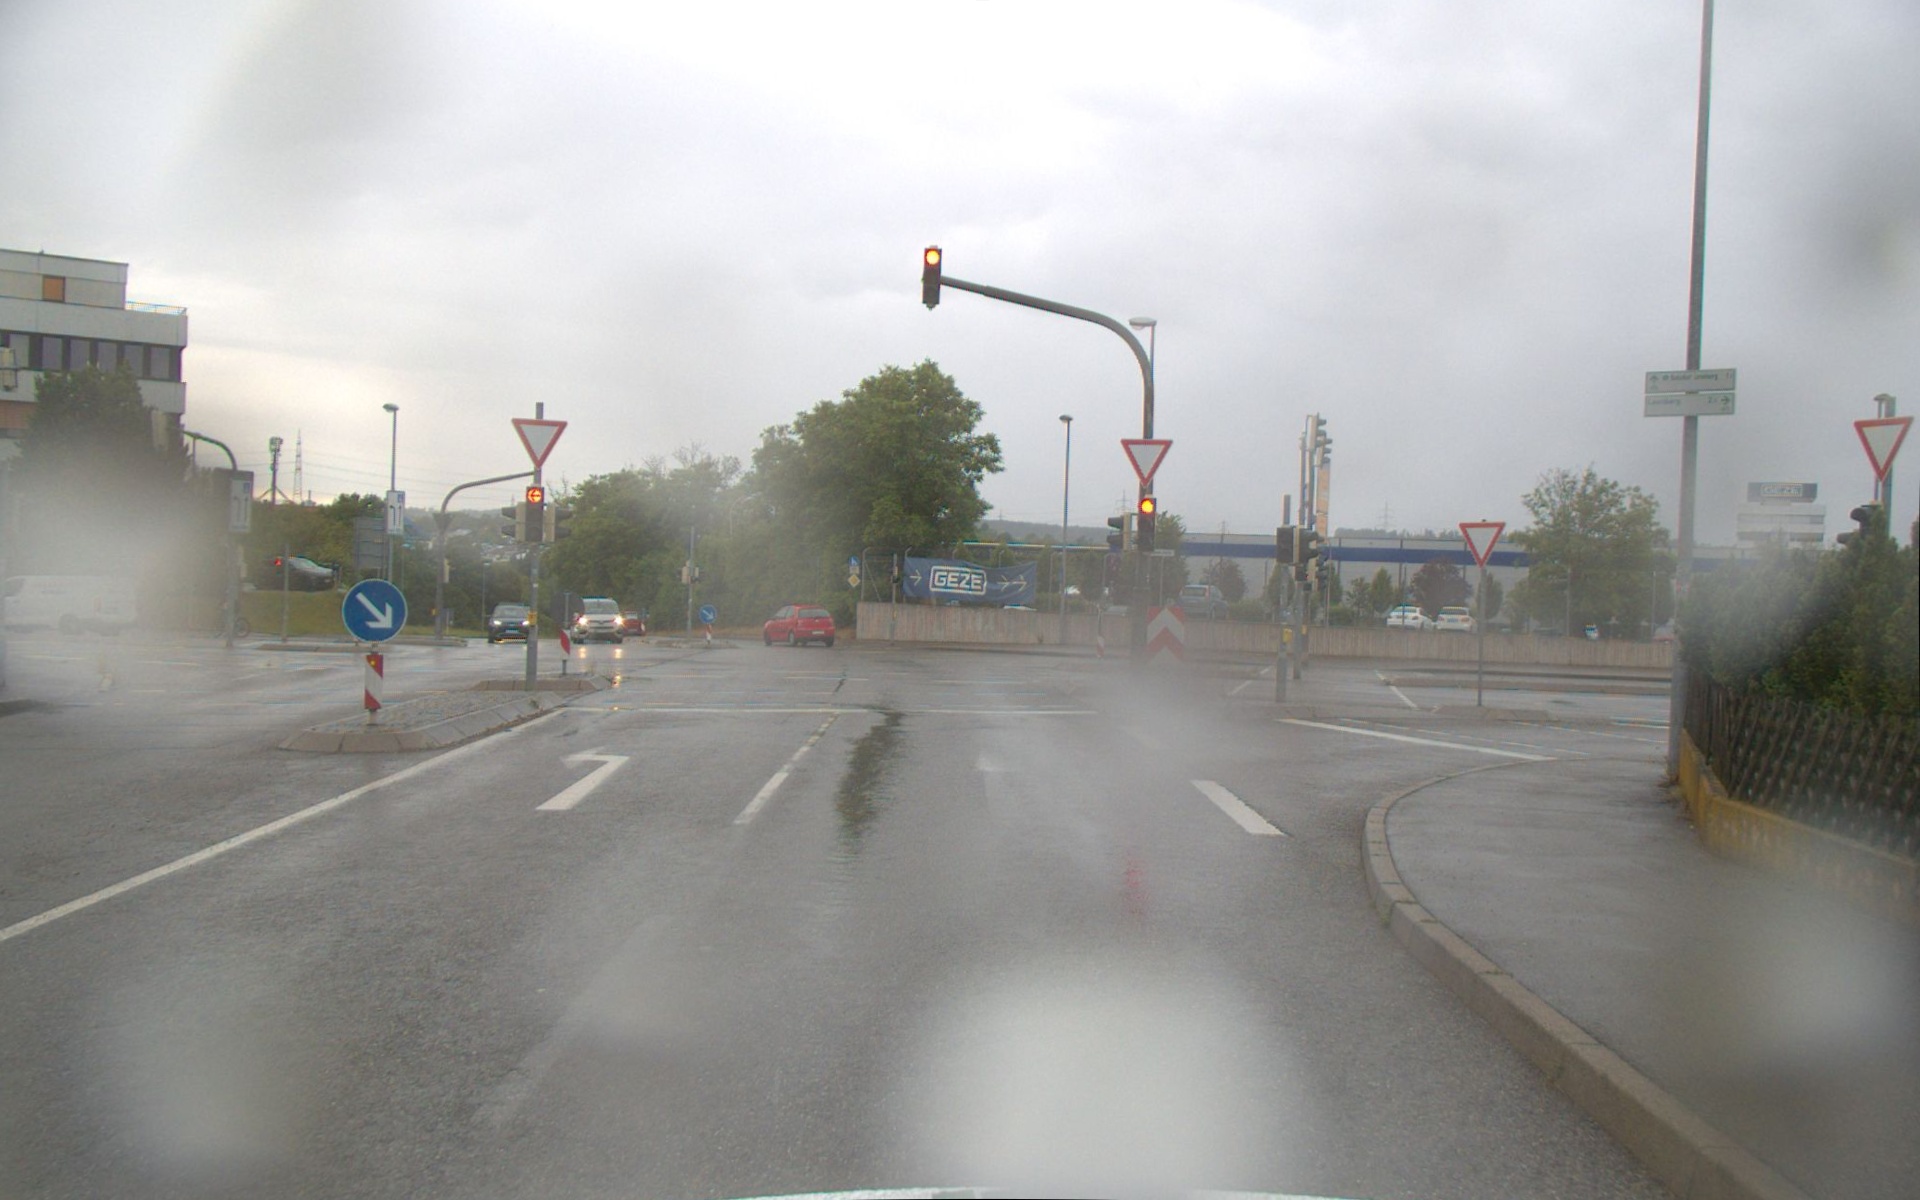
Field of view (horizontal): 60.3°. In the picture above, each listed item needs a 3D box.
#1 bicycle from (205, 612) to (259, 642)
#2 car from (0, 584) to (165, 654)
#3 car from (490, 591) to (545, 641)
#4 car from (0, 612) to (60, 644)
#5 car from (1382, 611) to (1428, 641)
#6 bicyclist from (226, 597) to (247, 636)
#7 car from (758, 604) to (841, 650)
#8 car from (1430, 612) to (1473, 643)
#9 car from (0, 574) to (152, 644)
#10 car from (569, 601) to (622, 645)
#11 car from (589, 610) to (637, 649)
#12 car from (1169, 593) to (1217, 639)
[{"bbox_3d":[-27.284,1.026,61.991,1.740,1.070,0.609,2,0,-7],"label":"bicycle"},{"bbox_3d":[-25.673,0.532,48.328,4.053,1.873,2.001,2,0,16],"label":"car"},{"bbox_3d":[-18.078,0.685,67.482,1.962,1.928,3.979,2,-2,-18],"label":"car"},{"bbox_3d":[-35.960,1.036,62.362,3.463,1.125,1.804,2,0,-27],"label":"car"},{"bbox_3d":[23.584,1.371,87.596,1.952,1.504,4.000,2,0,20],"label":"car"},{"bbox_3d":[-27.128,0.622,62.010,0.533,1.471,0.602,1,-1,-6],"label":"bicyclist"},{"bbox_3d":[-5.926,0.979,60.754,1.597,1.474,3.771,3,1,-29],"label":"car"},{"bbox_3d":[25.871,1.438,86.972,1.952,1.504,4.001,2,0,19],"label":"car"},{"bbox_3d":[-28.231,0.255,51.887,4.889,2.049,2.002,2,0,10],"label":"car"},{"bbox_3d":[-14.750,0.896,66.827,1.960,1.646,3.985,2,0,-14],"label":"car"},{"bbox_3d":[-19.465,1.627,92.665,1.965,1.940,3.975,3,0,-21],"label":"car"},{"bbox_3d":[10.866,0.753,76.989,1.951,2.049,4.003,1,0,12],"label":"car"}]
